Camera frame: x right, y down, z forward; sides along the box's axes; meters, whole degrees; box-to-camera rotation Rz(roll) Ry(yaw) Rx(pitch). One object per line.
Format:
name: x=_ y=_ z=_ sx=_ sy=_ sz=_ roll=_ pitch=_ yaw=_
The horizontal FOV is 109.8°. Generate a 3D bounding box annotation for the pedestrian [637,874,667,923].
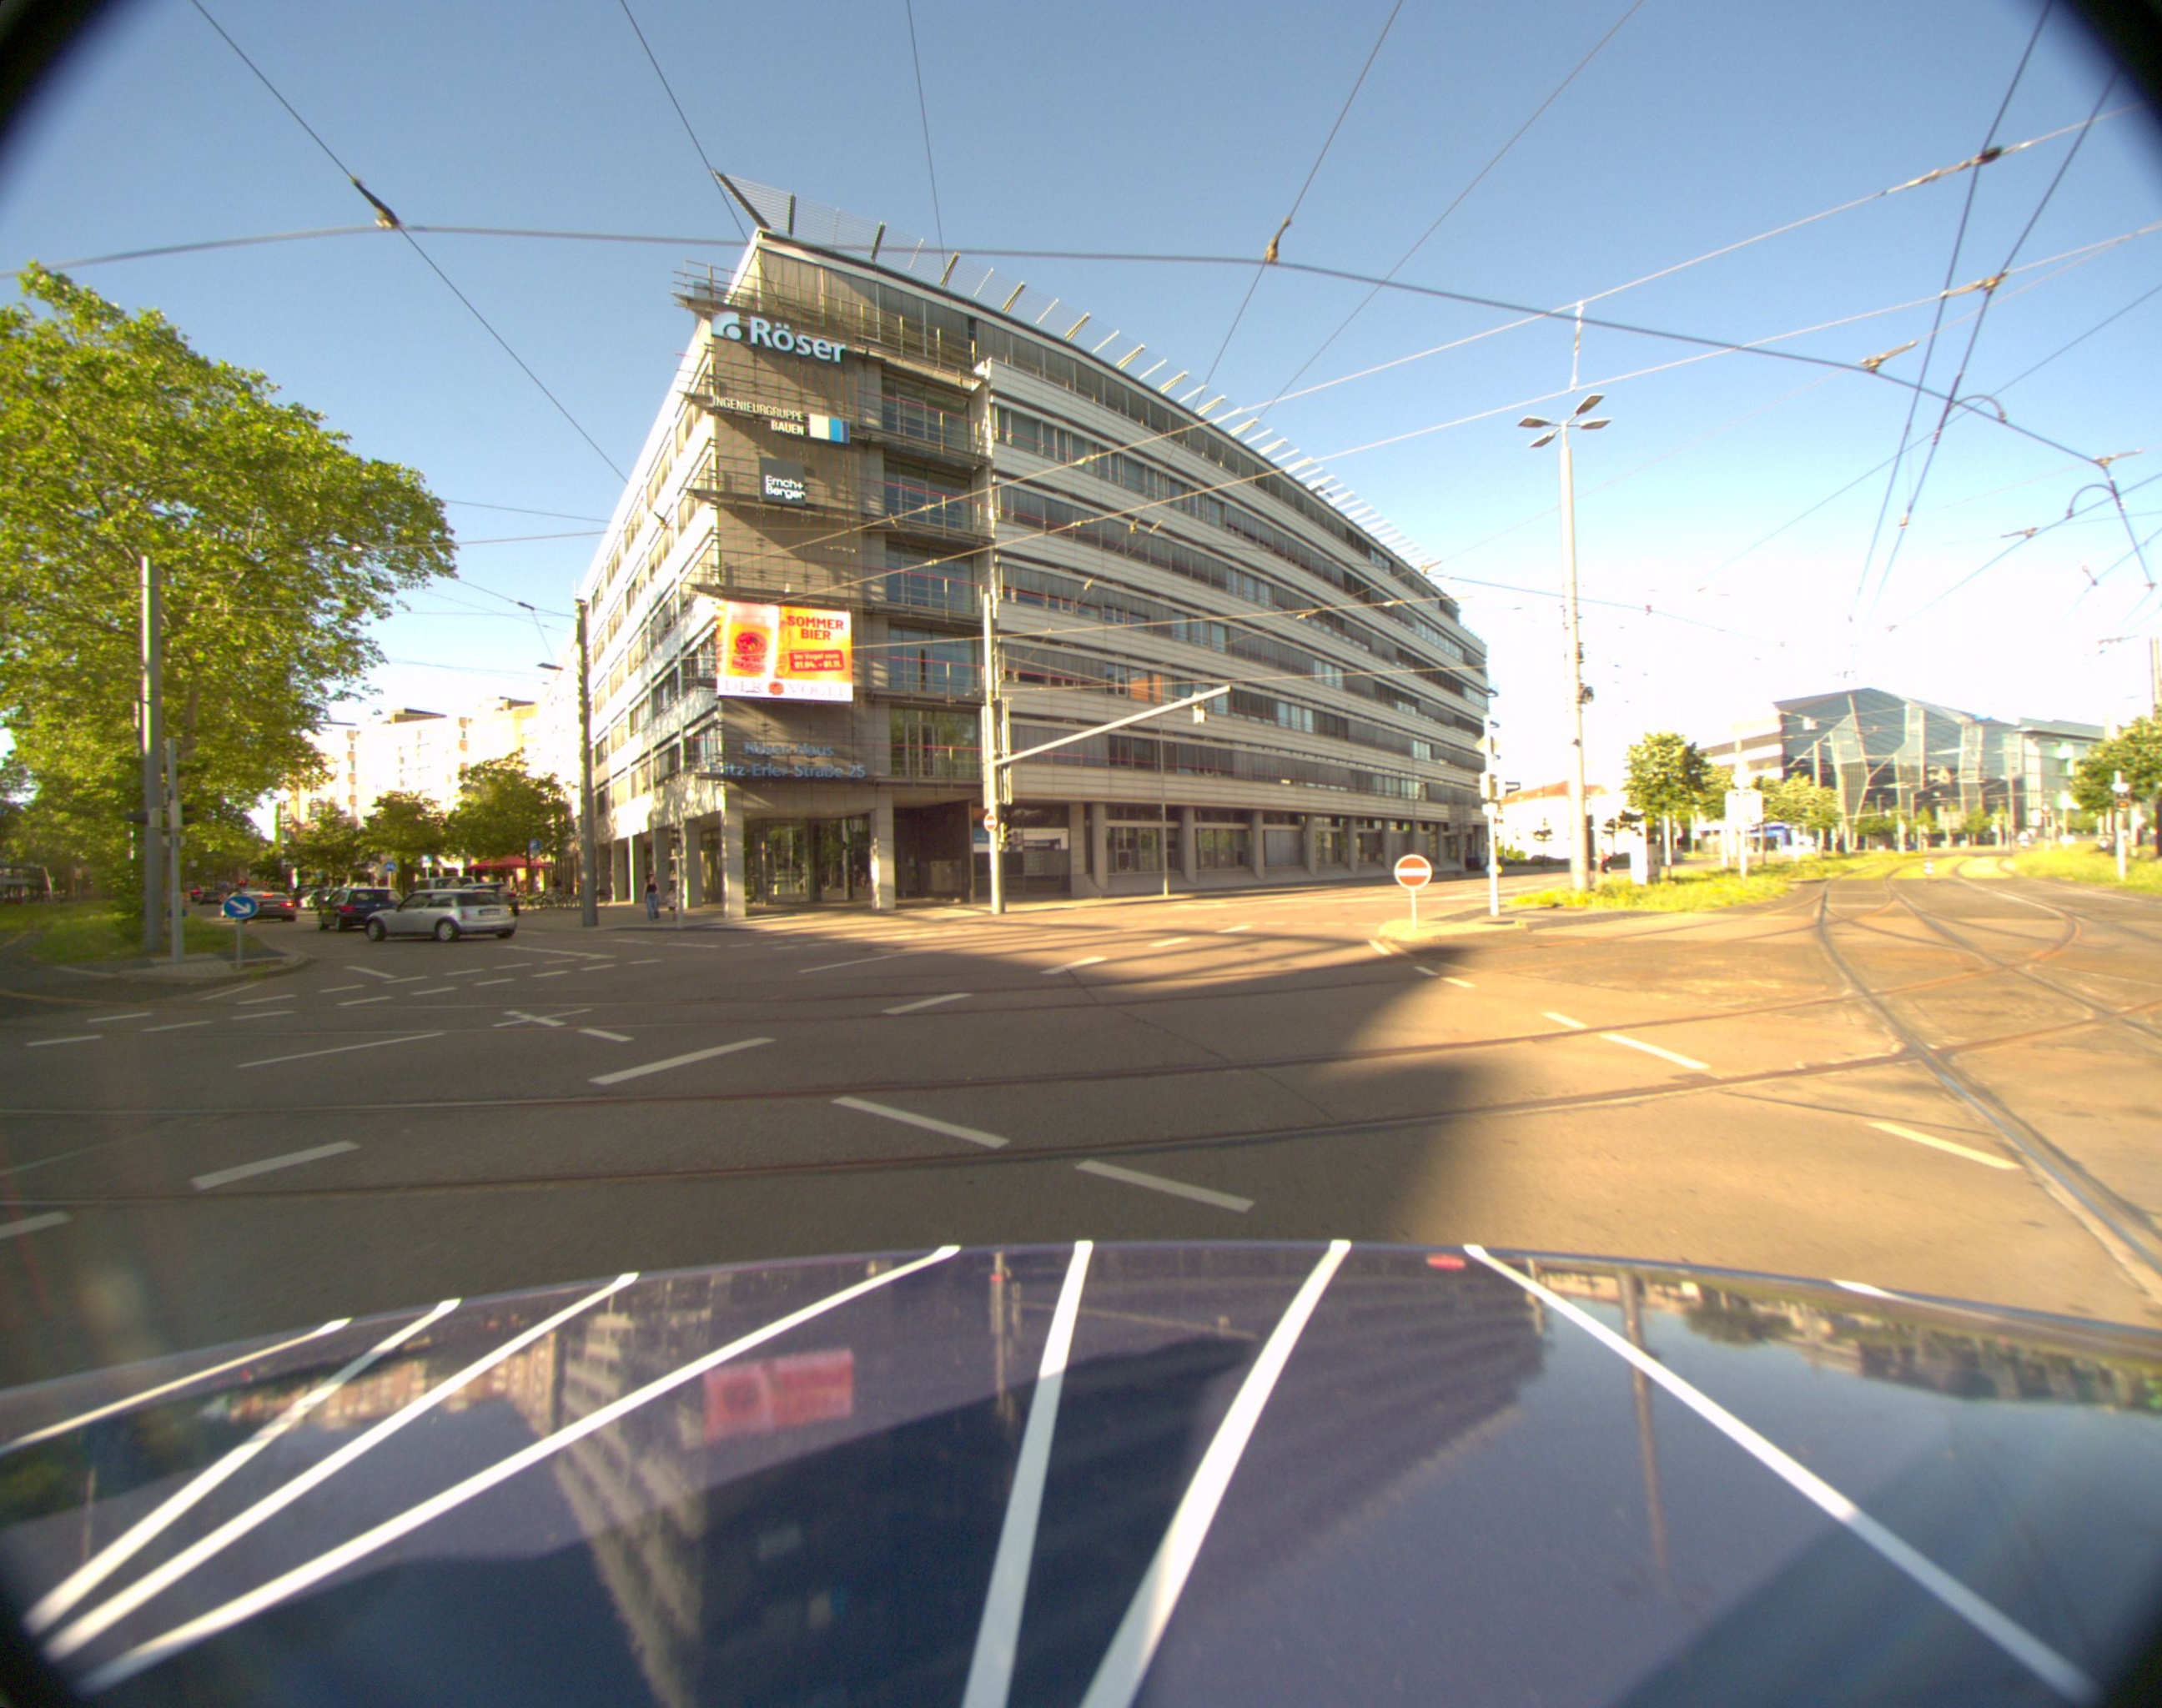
pedestrian: x=-14.724 y=1.507 z=26.085 sx=0.791 sy=1.630 sz=0.662 roll=-3 pitch=-1 yaw=45

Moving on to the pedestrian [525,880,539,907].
pedestrian: x=-36.417 y=2.612 z=50.388 sx=0.638 sy=1.723 sz=0.791 roll=-3 pitch=-1 yaw=-39

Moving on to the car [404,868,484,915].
car: x=-29.925 y=1.739 z=35.655 sx=4.445 sy=2.004 sz=1.871 roll=-2 pitch=0 yaw=37

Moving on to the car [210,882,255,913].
car: x=-59.699 y=3.042 z=53.457 sx=3.971 sy=2.044 sz=1.704 roll=-2 pitch=0 yaw=37

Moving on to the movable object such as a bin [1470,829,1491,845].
movable object such as a bin: x=36.037 y=-1.526 z=68.474 sx=1.176 sy=1.293 sz=1.325 roll=-2 pitch=0 yaw=-42

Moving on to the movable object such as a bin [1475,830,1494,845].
movable object such as a bin: x=37.887 y=-1.547 z=71.326 sx=1.331 sy=1.293 sz=1.171 roll=-2 pitch=0 yaw=-42

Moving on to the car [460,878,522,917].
car: x=-25.307 y=1.836 z=32.535 sx=1.871 sy=1.466 sz=3.967 roll=-2 pitch=0 yaw=-40

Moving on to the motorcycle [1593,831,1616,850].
motorcycle: x=34.938 y=-0.924 z=50.667 sx=2.260 sy=1.214 sz=0.819 roll=-2 pitch=1 yaw=-45

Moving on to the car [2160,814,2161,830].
car: x=103.820 y=-3.044 z=71.899 sx=4.812 sy=1.519 sz=1.623 roll=-2 pitch=0 yaw=-40

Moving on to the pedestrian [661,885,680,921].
pedestrian: x=-14.362 y=1.713 z=26.597 sx=0.460 sy=1.203 sz=0.444 roll=-3 pitch=-1 yaw=45

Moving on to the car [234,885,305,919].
car: x=-38.707 y=2.299 z=36.228 sx=4.008 sy=1.431 sz=1.704 roll=-3 pitch=0 yaw=35

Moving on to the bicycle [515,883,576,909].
bicycle: x=-27.395 y=2.161 z=38.928 sx=0.773 sy=1.206 sz=2.399 roll=-3 pitch=-2 yaw=31

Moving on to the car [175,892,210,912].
car: x=-88.881 y=4.783 z=75.976 sx=4.305 sy=1.758 sz=1.827 roll=-4 pitch=-1 yaw=35

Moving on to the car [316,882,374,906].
car: x=-48.799 y=2.646 z=50.366 sx=3.967 sy=1.466 sz=1.871 roll=-2 pitch=0 yaw=32

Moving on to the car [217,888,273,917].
car: x=-47.121 y=2.717 z=42.806 sx=3.971 sy=1.466 sz=1.704 roll=-2 pitch=0 yaw=37

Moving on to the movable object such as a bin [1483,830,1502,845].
movable object such as a bin: x=39.042 y=-1.560 z=72.055 sx=1.331 sy=1.293 sz=1.171 roll=-2 pitch=0 yaw=-42

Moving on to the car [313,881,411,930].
car: x=-24.707 y=1.738 z=26.076 sx=3.967 sy=1.466 sz=1.871 roll=-3 pitch=0 yaw=39

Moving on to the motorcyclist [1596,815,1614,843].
motorcyclist: x=34.977 y=-1.662 z=50.714 sx=1.114 sy=1.846 sz=0.819 roll=-2 pitch=1 yaw=-45

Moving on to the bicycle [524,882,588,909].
bicycle: x=-25.315 y=1.976 z=36.681 sx=0.773 sy=1.206 sz=2.399 roll=-3 pitch=-2 yaw=31

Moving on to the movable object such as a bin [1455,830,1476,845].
movable object such as a bin: x=35.159 y=-1.504 z=69.488 sx=1.176 sy=1.293 sz=1.325 roll=-2 pitch=0 yaw=-42

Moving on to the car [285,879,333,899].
car: x=-62.231 y=2.788 z=61.255 sx=3.967 sy=1.466 sz=1.871 roll=-2 pitch=0 yaw=32

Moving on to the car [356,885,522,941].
car: x=-17.349 y=1.585 z=20.568 sx=3.530 sy=1.380 sz=1.668 roll=-2 pitch=-1 yaw=14

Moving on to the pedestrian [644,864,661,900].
pedestrian: x=-21.074 y=1.363 z=37.385 sx=0.588 sy=1.723 sz=0.791 roll=-3 pitch=-1 yaw=-34

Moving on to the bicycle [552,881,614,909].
bicycle: x=-23.737 y=1.951 z=36.231 sx=2.399 sy=1.206 sz=0.773 roll=-1 pitch=-2 yaw=-39
